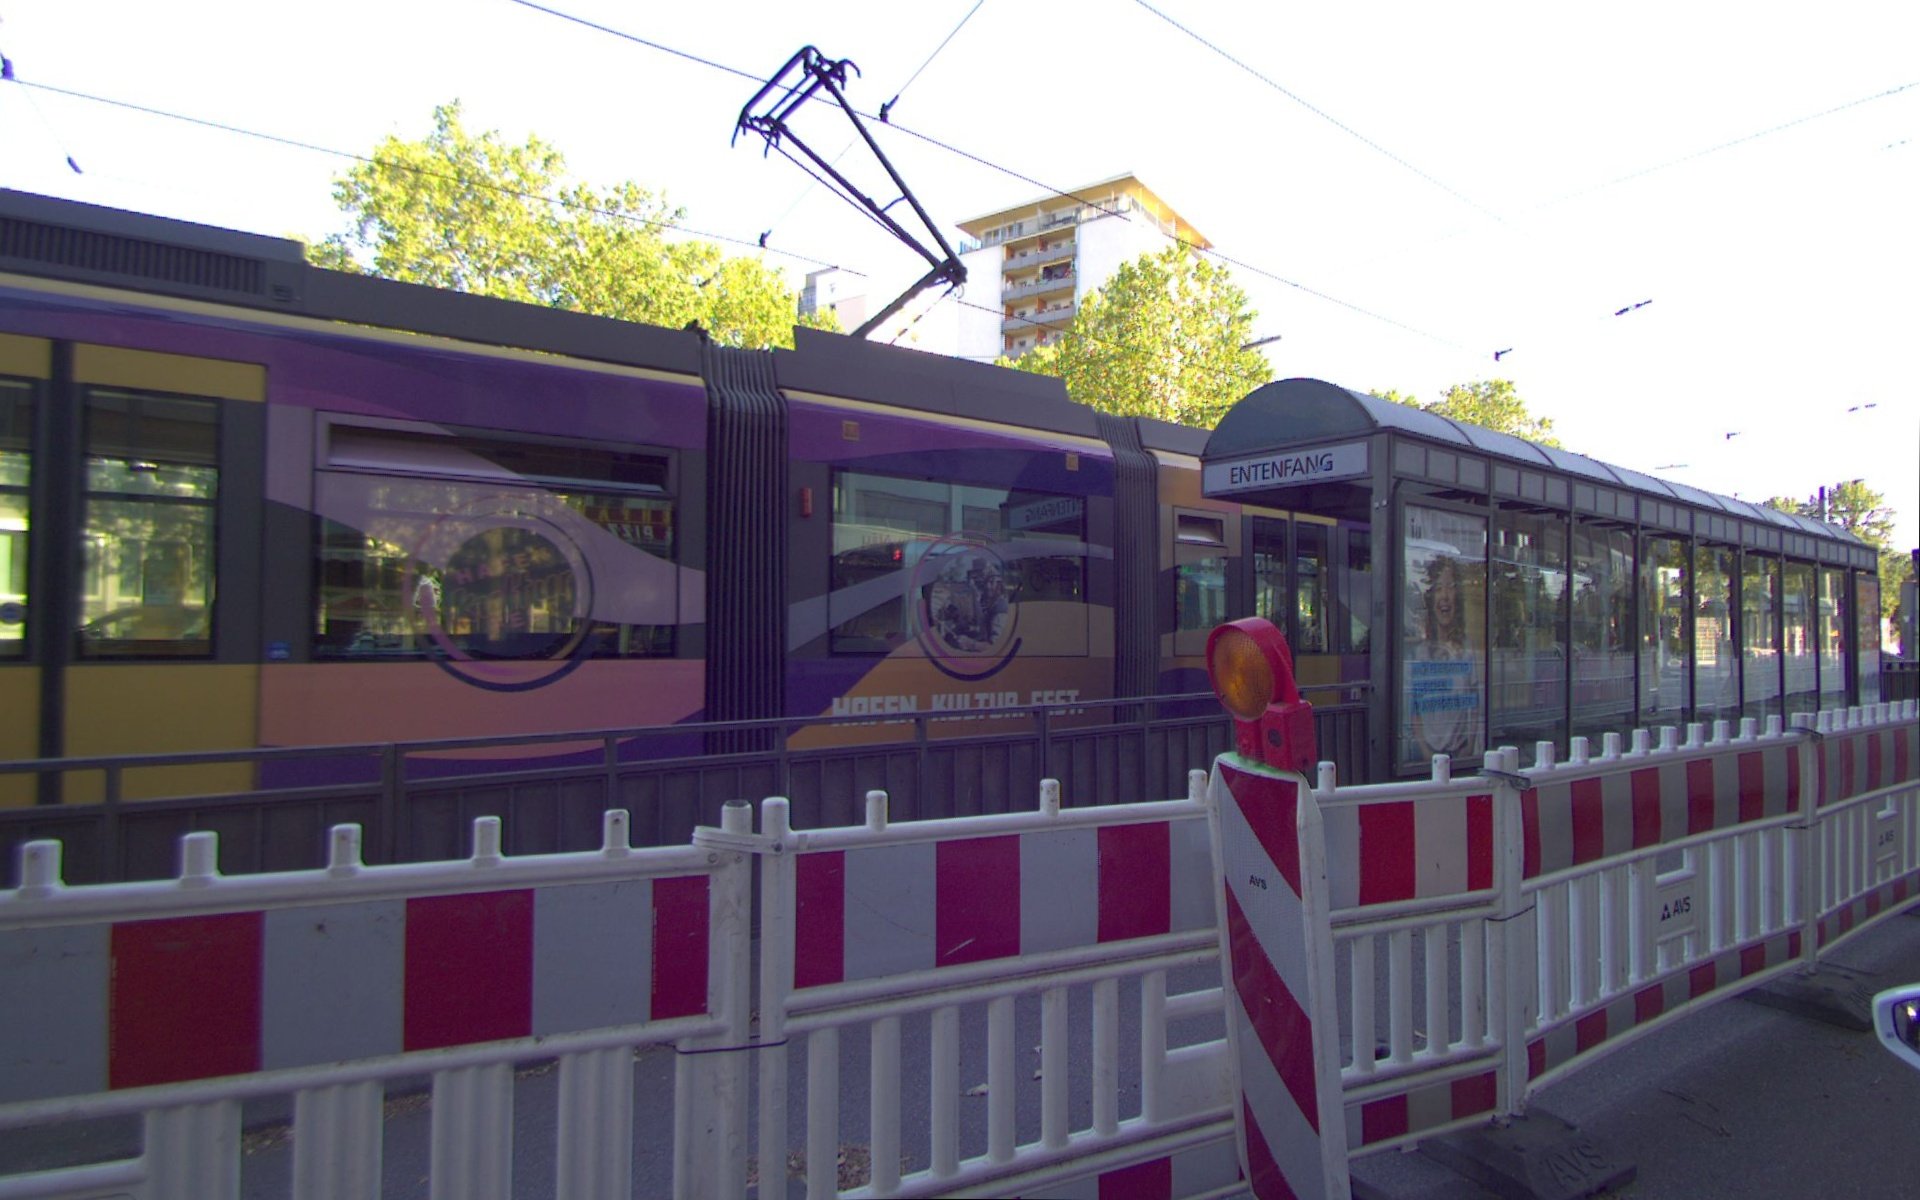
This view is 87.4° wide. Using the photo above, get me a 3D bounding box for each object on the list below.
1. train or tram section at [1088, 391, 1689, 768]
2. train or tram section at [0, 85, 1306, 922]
[{"bbox_3d":[6.415,-0.047,13.635,10.242,3.533,2.796,2,-1,-37],"label":"train or tram section"},{"bbox_3d":[-1.762,-0.295,7.578,10.235,3.533,2.817,2,-1,-35],"label":"train or tram section"}]
